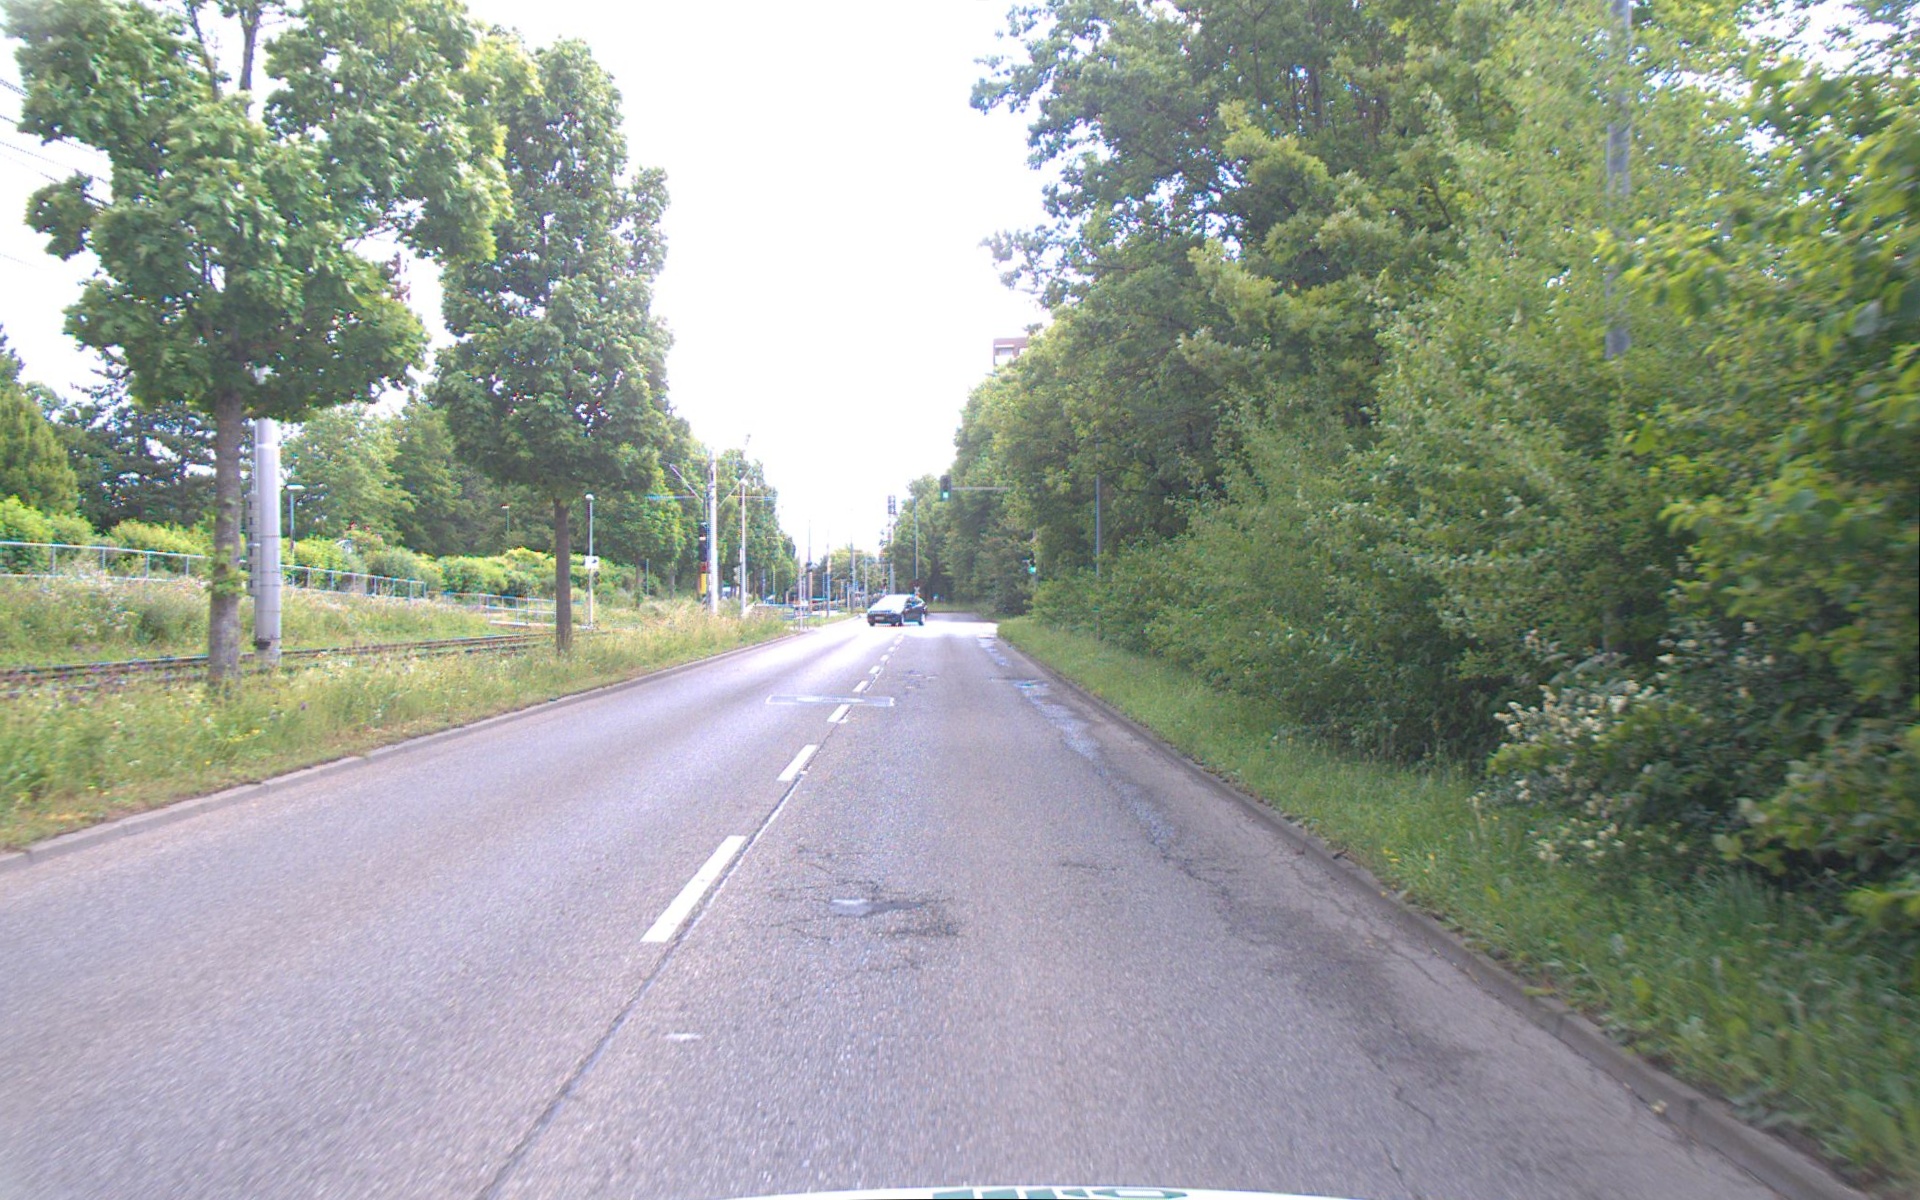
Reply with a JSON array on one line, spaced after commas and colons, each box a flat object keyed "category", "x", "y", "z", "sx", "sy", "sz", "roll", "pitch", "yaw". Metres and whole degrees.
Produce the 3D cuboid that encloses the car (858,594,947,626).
[{"category": "car", "x": -2.794, "y": 0.486, "z": 81.009, "sx": 4.224, "sy": 1.496, "sz": 1.826, "roll": 0, "pitch": 1, "yaw": -45}]
